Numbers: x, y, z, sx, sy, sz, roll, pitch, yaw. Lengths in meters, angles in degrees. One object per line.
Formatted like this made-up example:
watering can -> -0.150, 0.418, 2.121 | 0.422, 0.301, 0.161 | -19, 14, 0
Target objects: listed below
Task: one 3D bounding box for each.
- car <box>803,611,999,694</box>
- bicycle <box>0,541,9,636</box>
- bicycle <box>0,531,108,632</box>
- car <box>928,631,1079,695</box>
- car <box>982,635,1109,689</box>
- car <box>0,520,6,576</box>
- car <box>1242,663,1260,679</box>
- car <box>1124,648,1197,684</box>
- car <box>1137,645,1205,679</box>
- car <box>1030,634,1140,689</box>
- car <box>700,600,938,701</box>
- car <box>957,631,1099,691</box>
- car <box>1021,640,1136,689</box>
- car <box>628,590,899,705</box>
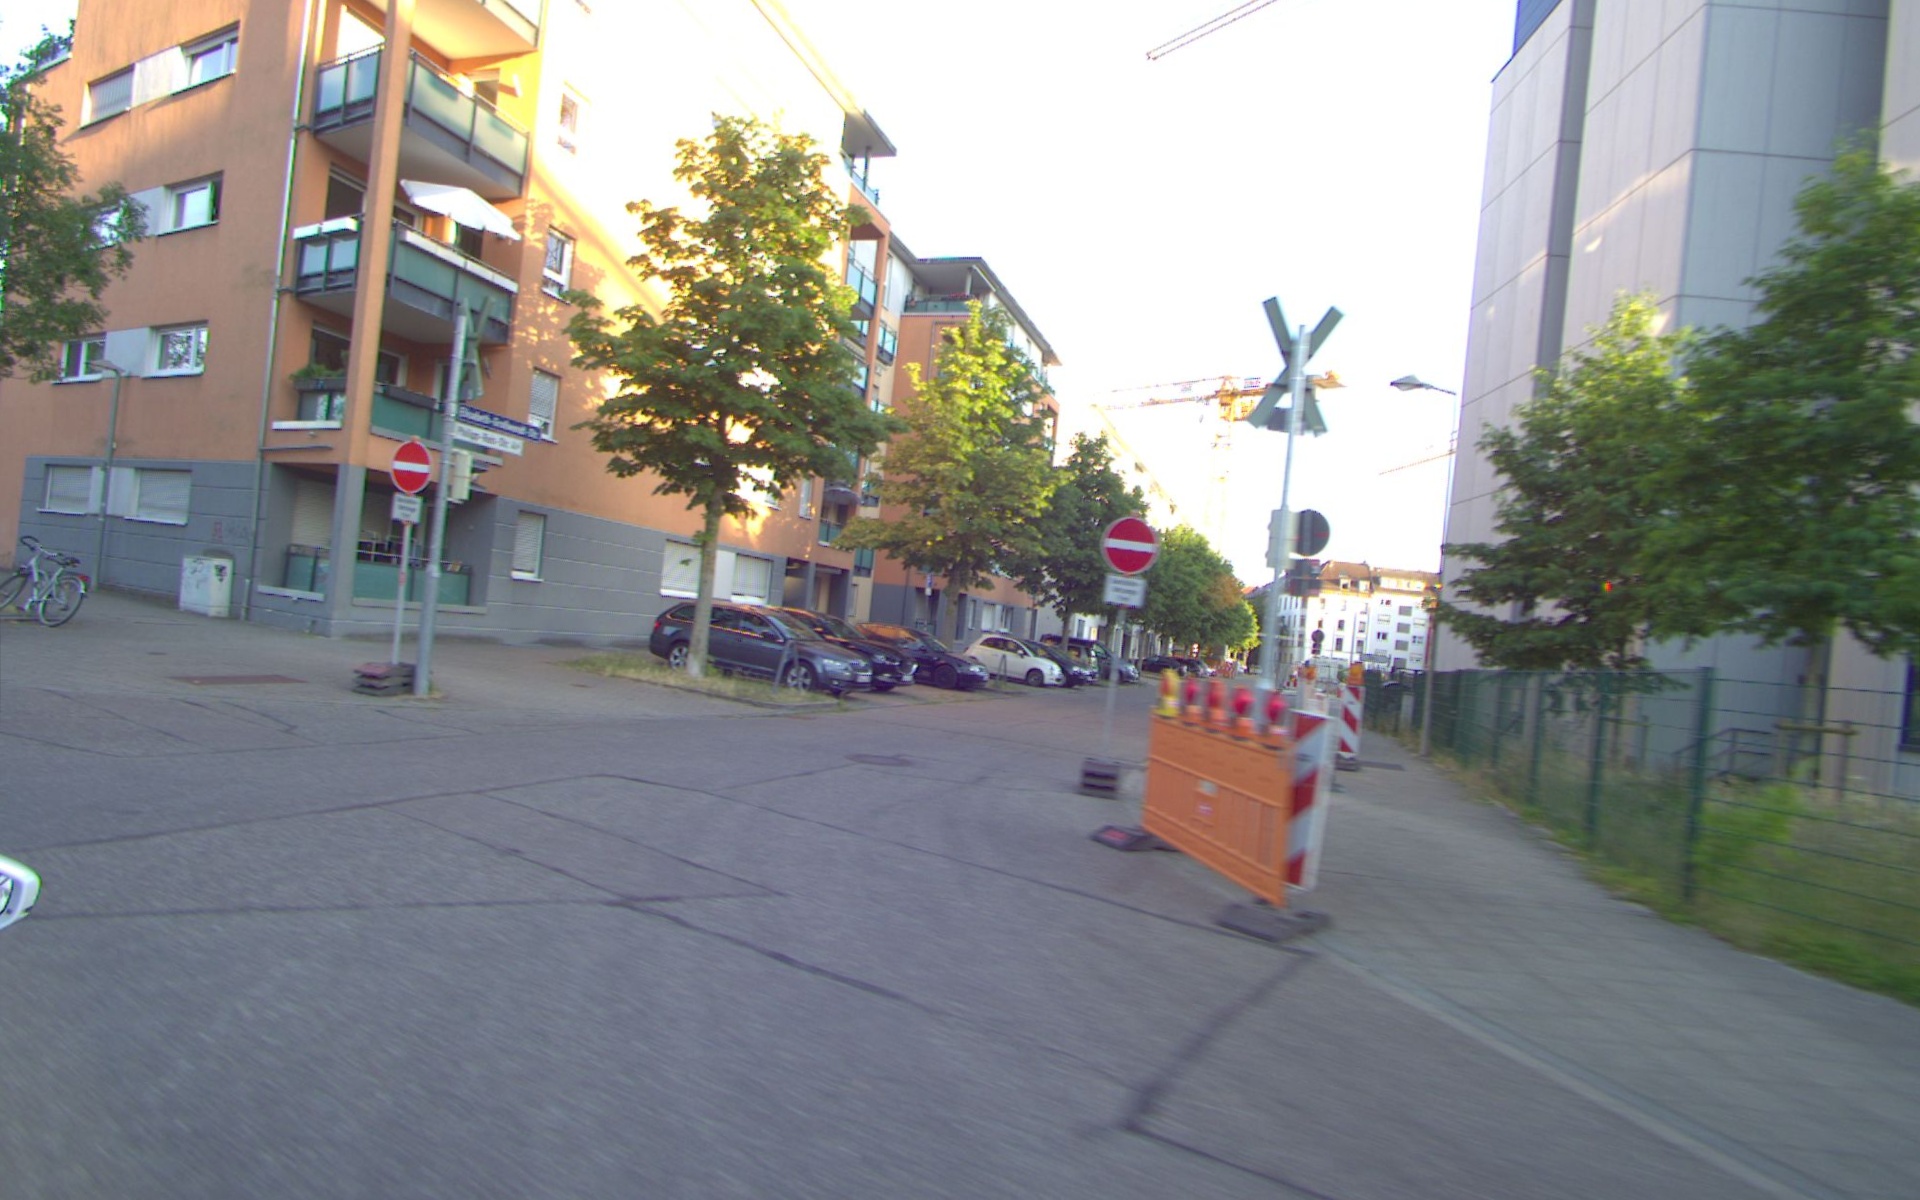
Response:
car -> -1.582, 1.395, 27.071 | 4.726, 1.614, 2.000 | 6, -1, 21
bicycle -> -12.847, -0.256, 12.644 | 1.894, 1.168, 0.679 | 7, 2, 28
bicycle -> -12.648, -0.271, 13.918 | 1.928, 1.140, 0.530 | 7, -1, 28
car -> 1.533, 2.139, 34.747 | 4.724, 1.614, 2.001 | 6, -1, 18
car -> 3.529, 2.532, 41.269 | 4.724, 1.614, 2.001 | 6, -1, 18
car -> -16.796, -0.734, 14.689 | 1.584, 1.490, 3.760 | 6, -2, 25
car -> 42.186, 10.291, 145.789 | 1.963, 2.036, 4.005 | 6, -3, 20
car -> 14.558, 4.790, 73.029 | 4.726, 2.008, 2.000 | 6, -1, 21
car -> 16.411, 4.812, 78.245 | 4.726, 2.008, 2.000 | 6, -1, 21
car -> 5.954, 2.913, 47.879 | 4.724, 2.008, 2.001 | 6, -1, 18
car -> -3.121, 1.103, 22.333 | 4.726, 1.613, 2.001 | 6, -1, 21
car -> 2.509, 2.215, 36.803 | 4.724, 1.614, 2.001 | 6, -1, 18
car -> 5.367, 2.898, 45.491 | 4.724, 1.614, 2.001 | 6, -1, 18
car -> -3.816, 0.911, 19.622 | 4.726, 1.613, 2.001 | 6, -2, 21
